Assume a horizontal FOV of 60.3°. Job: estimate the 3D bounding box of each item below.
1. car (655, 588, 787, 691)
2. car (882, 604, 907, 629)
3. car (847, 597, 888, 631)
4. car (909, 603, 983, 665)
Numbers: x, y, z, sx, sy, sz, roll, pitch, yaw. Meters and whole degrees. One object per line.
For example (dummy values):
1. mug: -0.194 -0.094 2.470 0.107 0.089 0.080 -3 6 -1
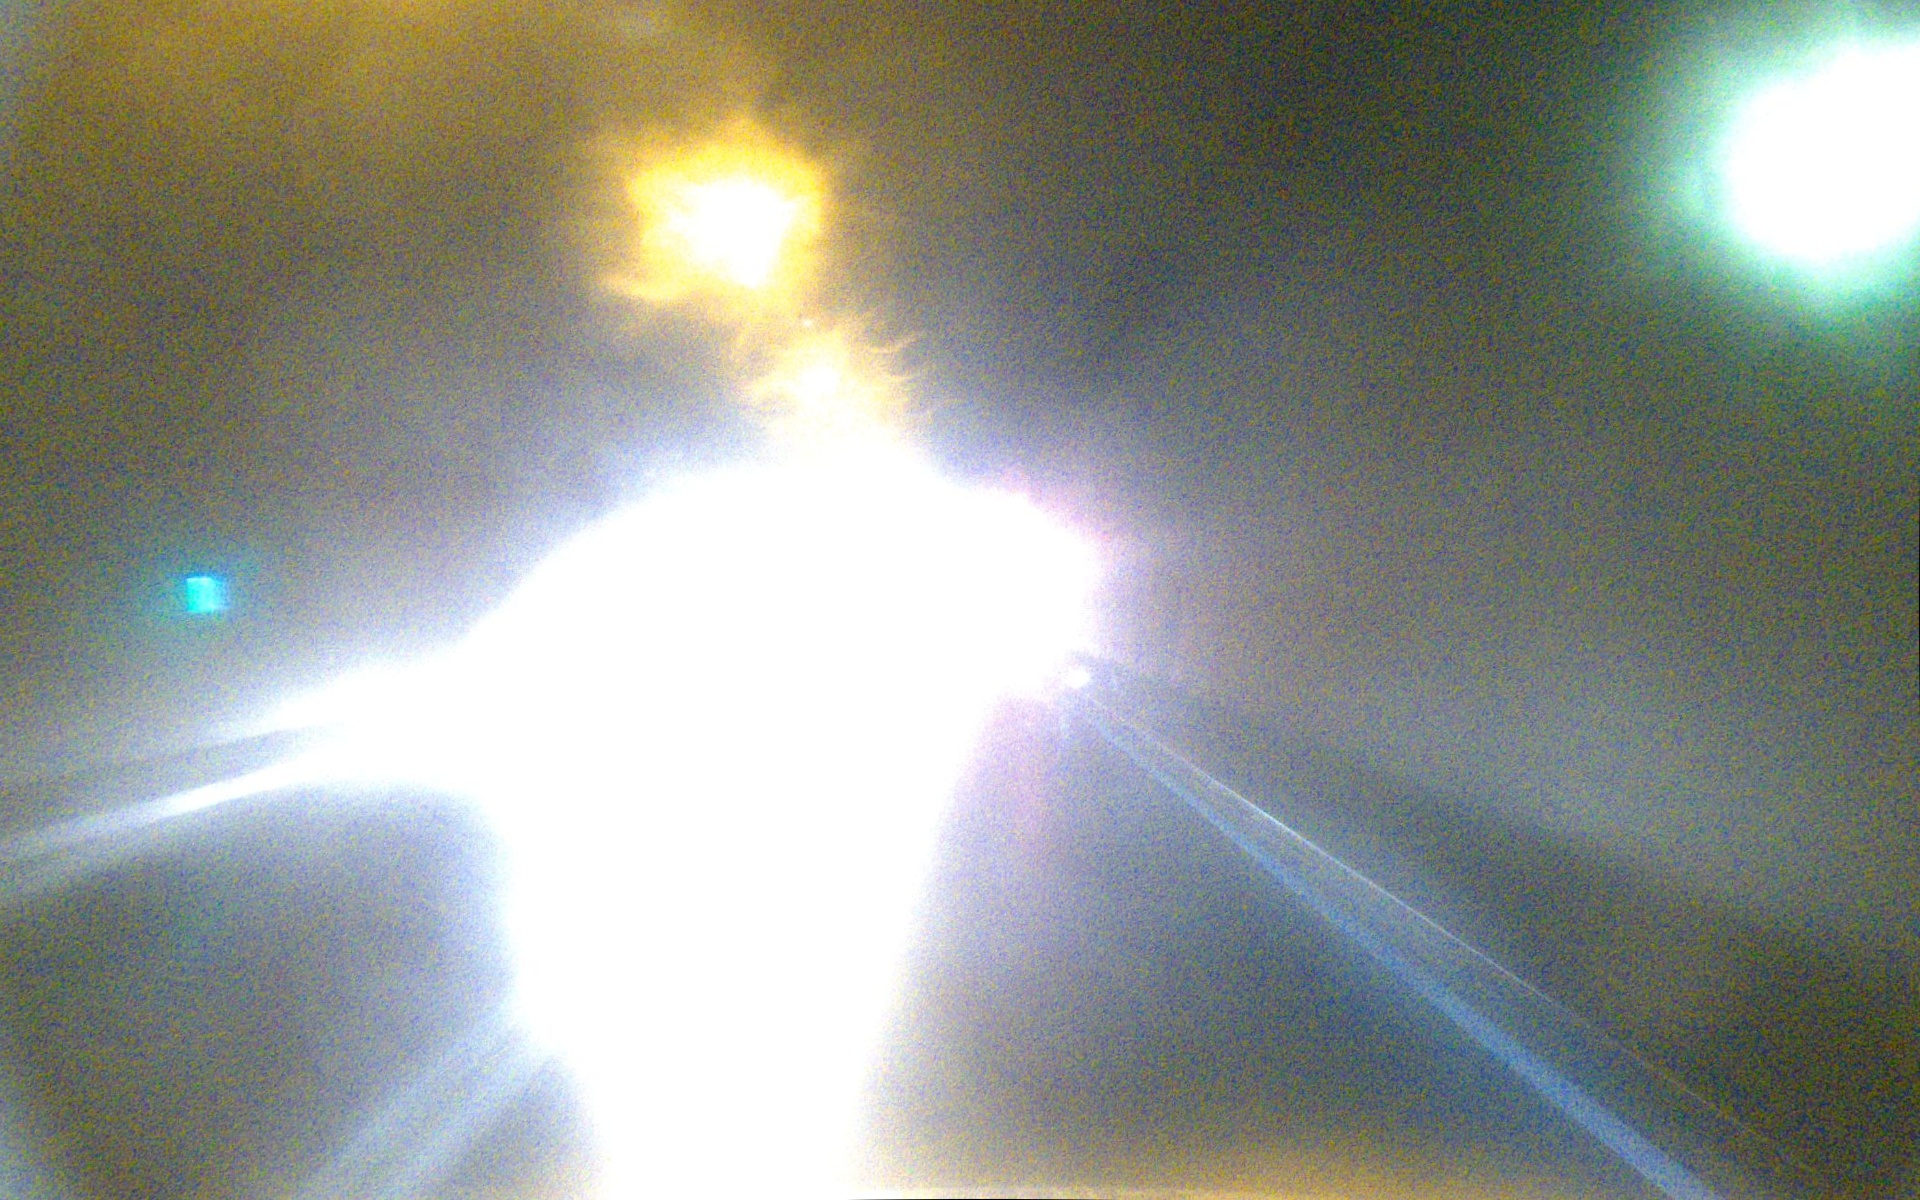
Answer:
1. car: -3.740 0.590 26.443 1.656 1.531 3.743 0 0 -2
2. car: -4.739 1.168 119.407 1.635 1.676 3.906 -2 1 -1
3. car: -4.121 0.601 74.252 1.676 1.488 3.574 0 0 -1
4. car: -0.425 0.938 47.374 2.047 1.691 3.999 0 0 -1
